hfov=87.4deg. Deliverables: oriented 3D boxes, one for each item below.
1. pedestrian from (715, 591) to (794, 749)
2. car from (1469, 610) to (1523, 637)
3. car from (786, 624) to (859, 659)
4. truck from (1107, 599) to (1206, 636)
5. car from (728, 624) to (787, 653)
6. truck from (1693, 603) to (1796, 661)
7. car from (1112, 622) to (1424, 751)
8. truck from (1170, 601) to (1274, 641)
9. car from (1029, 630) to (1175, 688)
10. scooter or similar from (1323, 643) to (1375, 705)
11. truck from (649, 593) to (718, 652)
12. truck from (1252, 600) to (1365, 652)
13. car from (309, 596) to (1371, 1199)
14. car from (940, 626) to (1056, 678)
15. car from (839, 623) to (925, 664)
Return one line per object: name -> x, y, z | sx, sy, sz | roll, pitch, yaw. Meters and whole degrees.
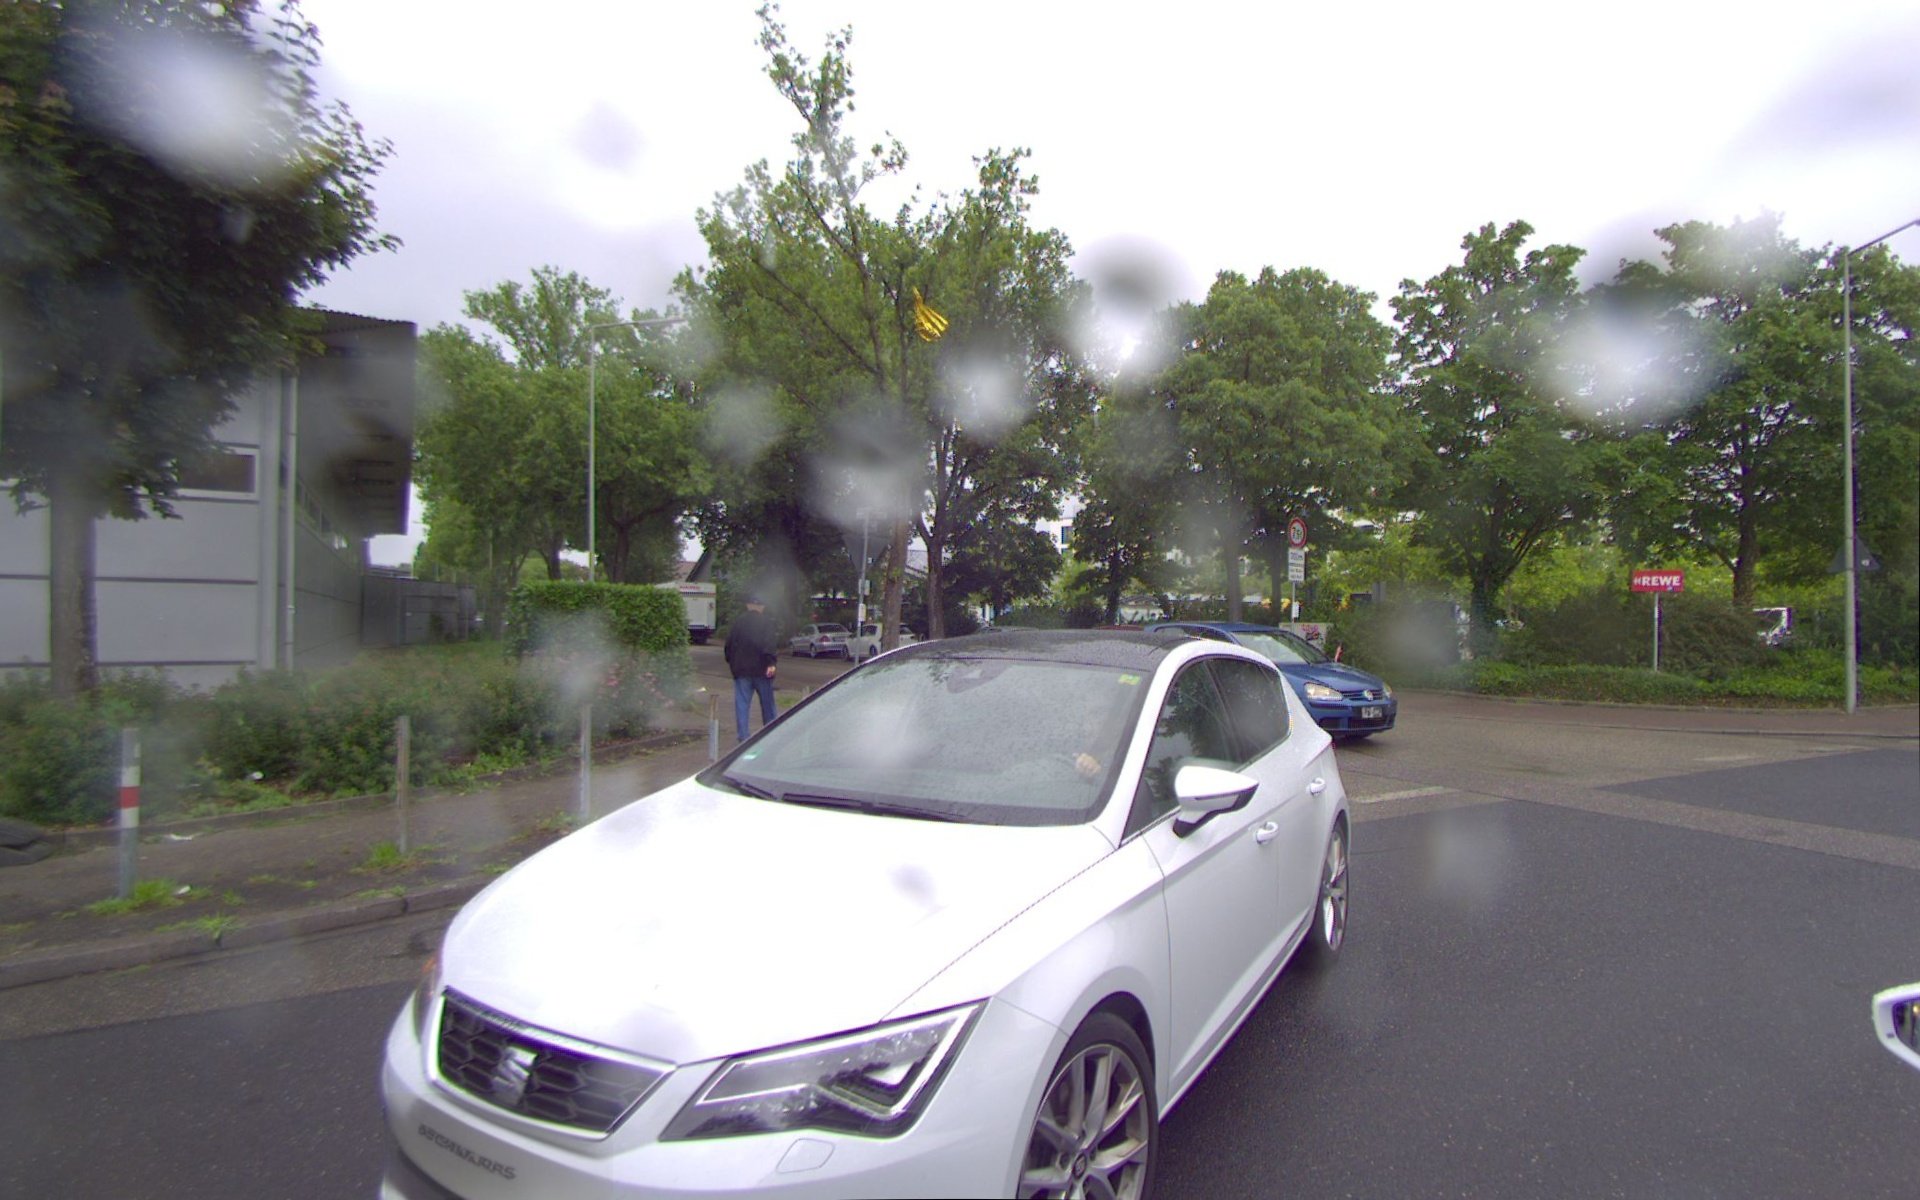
pedestrian -> -2.282, 0.763, 11.230 | 0.744, 1.696, 0.782 | 1, -1, -3
car -> 42.937, 1.874, 80.479 | 3.951, 2.040, 1.985 | 2, -1, -29
car -> -5.866, 1.754, 42.549 | 1.715, 1.401, 4.066 | 1, -2, -29
truck -> 11.716, 1.099, 59.758 | 6.065, 2.087, 1.983 | 2, -2, -32
car -> -10.146, 1.903, 50.153 | 1.715, 1.401, 4.066 | 1, -2, -29
truck -> 40.172, 1.653, 51.412 | 6.392, 2.789, 1.984 | 2, -1, -31
car -> 3.953, 1.044, 13.560 | 1.715, 1.460, 3.970 | 1, -2, -29
truck -> 14.663, 1.179, 56.061 | 6.065, 2.122, 1.983 | 1, -1, -32
car -> 3.591, 1.470, 26.097 | 1.715, 1.381, 3.970 | 1, -2, -29
scooter or similar -> 7.655, 1.440, 19.764 | 1.045, 1.191, 0.283 | 1, -1, -22
truck -> -17.444, 1.427, 63.153 | 2.572, 3.515, 6.761 | 1, -2, -30
truck -> 18.676, 1.393, 53.685 | 6.315, 2.636, 1.986 | 1, -1, -28
car -> 0.245, 0.792, 3.598 | 1.706, 1.460, 3.992 | -1, -2, 31
car -> 1.076, 1.522, 30.288 | 1.715, 1.460, 3.970 | 1, -2, -29
car -> -2.989, 1.606, 37.761 | 1.715, 1.460, 3.970 | 1, -2, -29
